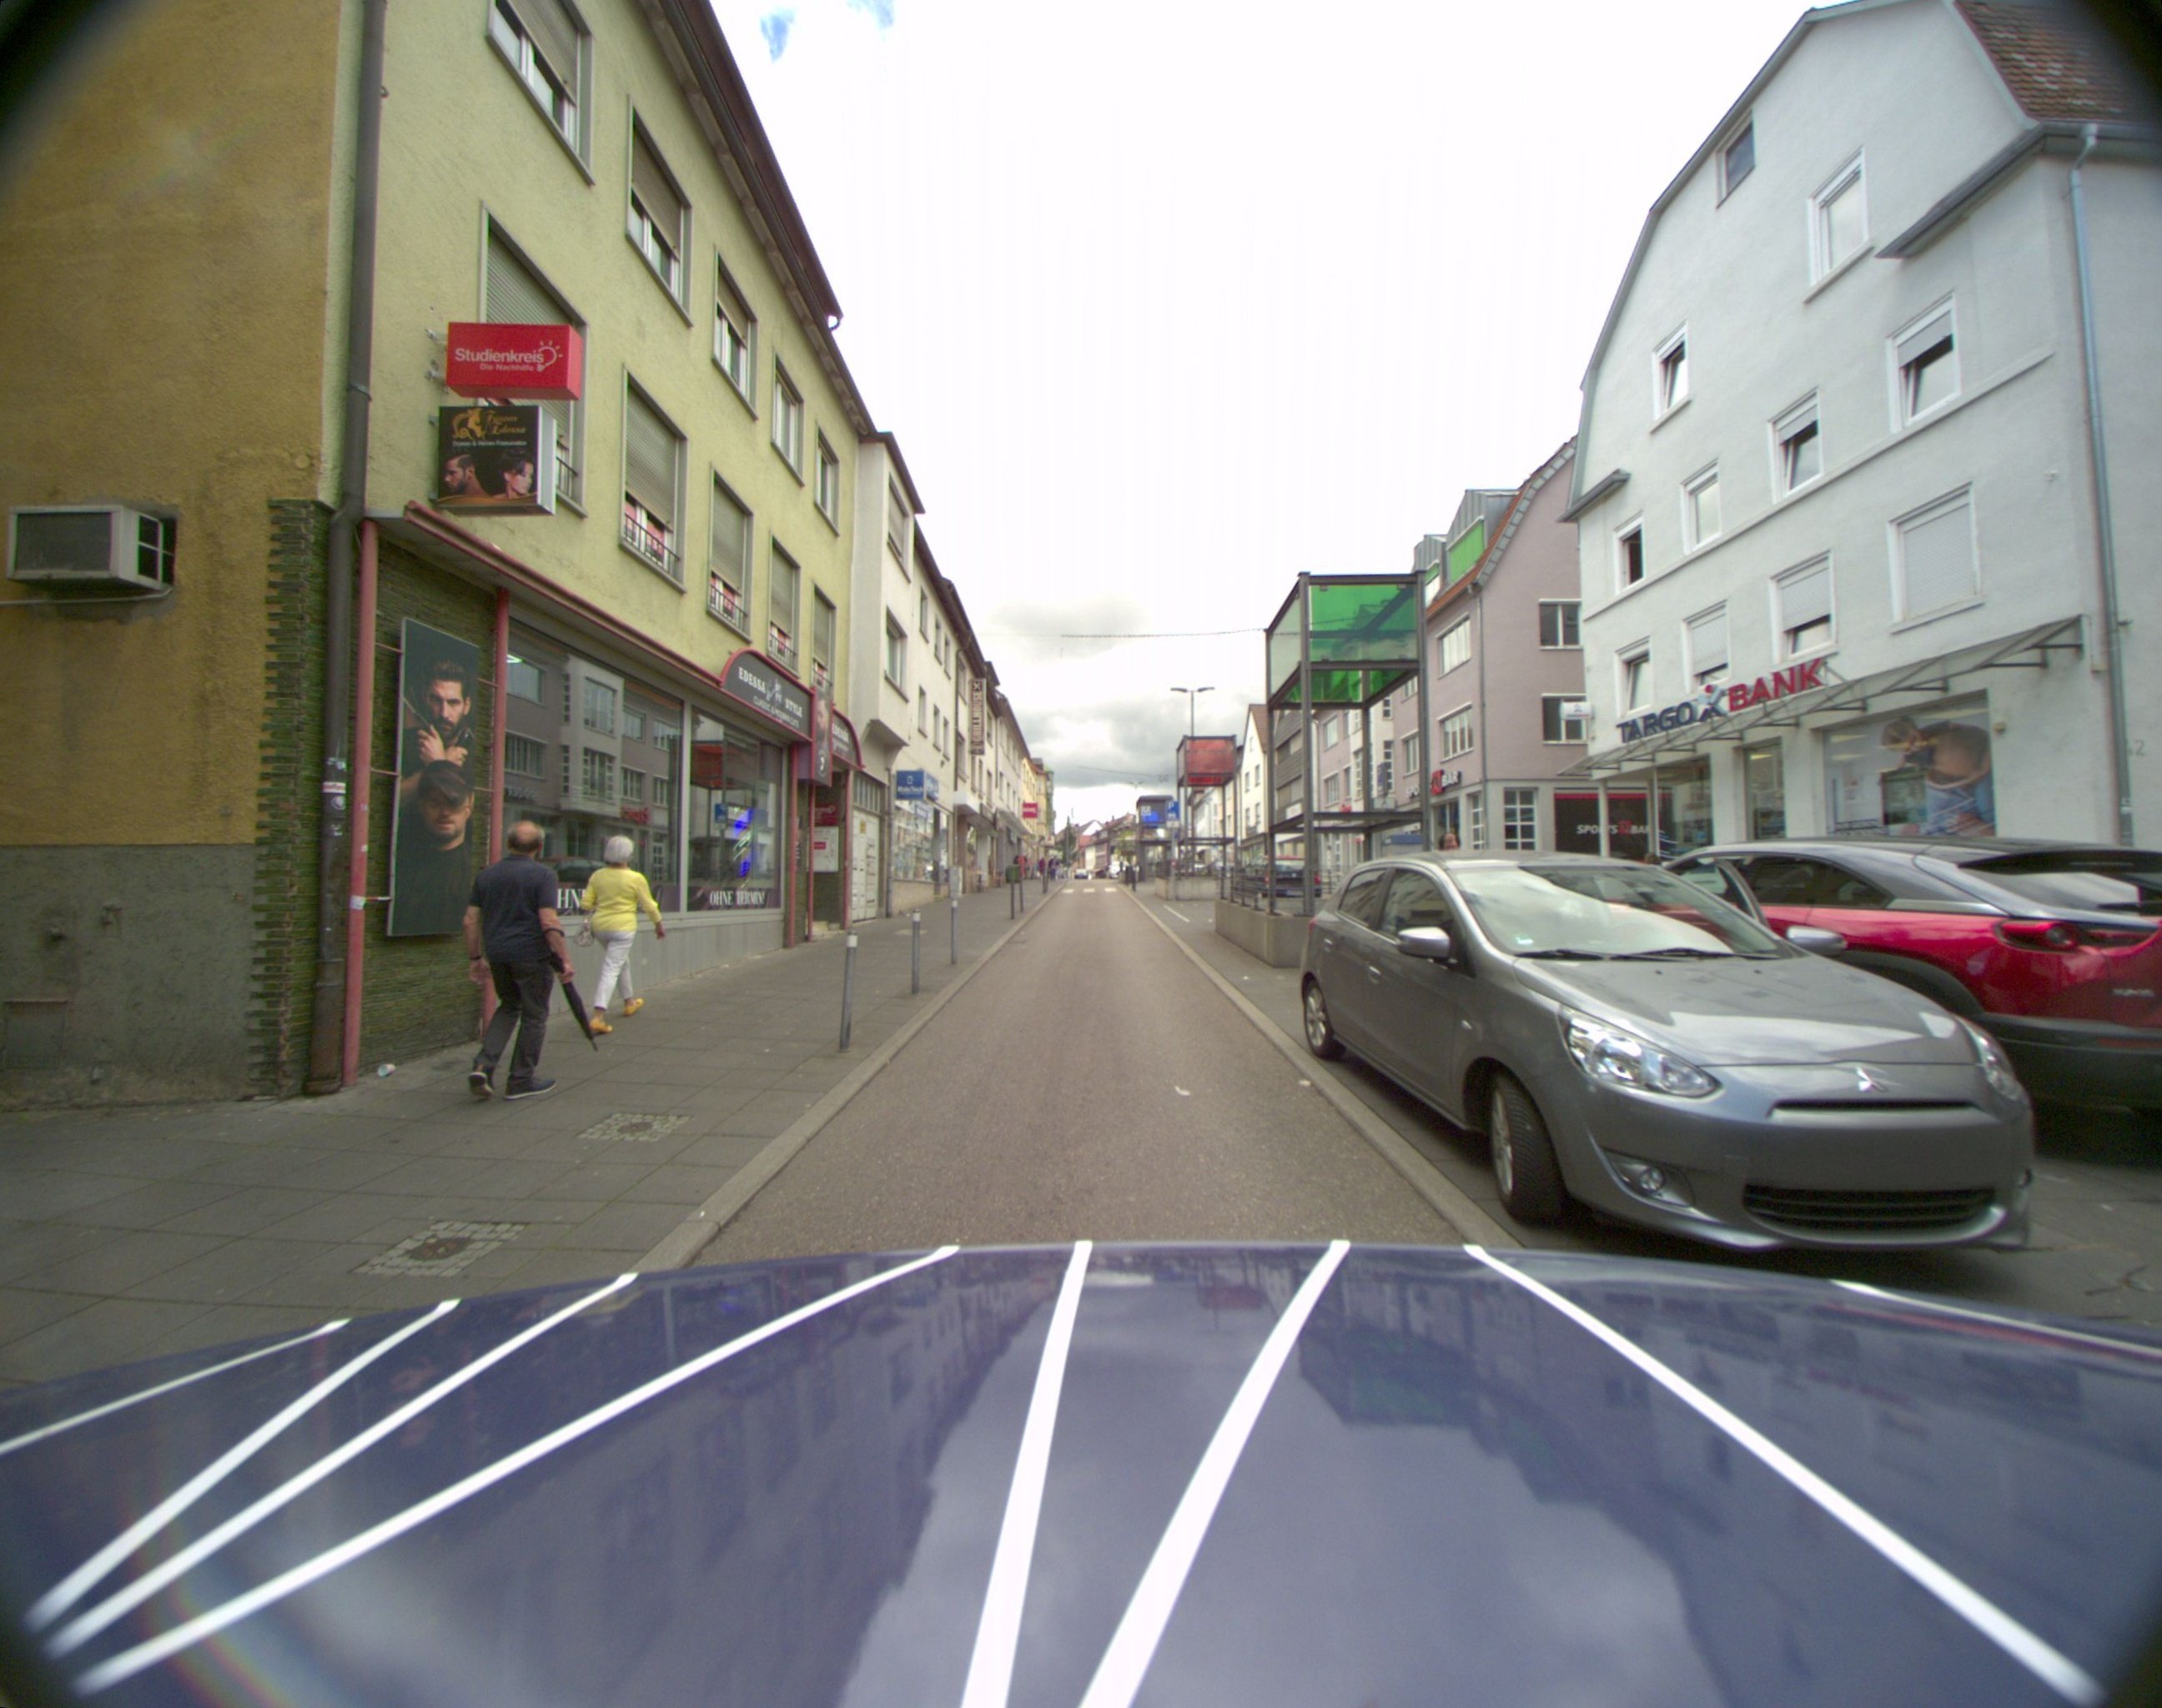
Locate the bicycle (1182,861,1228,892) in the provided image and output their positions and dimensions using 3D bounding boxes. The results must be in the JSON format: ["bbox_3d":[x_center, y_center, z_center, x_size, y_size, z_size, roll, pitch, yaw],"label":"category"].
[{"bbox_3d":[4.999,0.889,30.632,1.782,1.216,0.459,0,1,0],"label":"bicycle"}]

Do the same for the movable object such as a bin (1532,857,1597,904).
[{"bbox_3d":[14.605,0.799,22.993,1.286,1.368,1.067,-1,0,1],"label":"movable object such as a bin"}]

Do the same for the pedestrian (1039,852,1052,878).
[{"bbox_3d":[-2.330,0.691,49.187,0.740,1.660,0.627,1,1,-8],"label":"pedestrian"}]

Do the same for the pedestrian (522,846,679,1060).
[{"bbox_3d":[-3.896,0.757,6.223,0.713,1.622,0.835,2,1,1],"label":"pedestrian"}]

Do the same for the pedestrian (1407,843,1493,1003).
[{"bbox_3d":[4.059,0.729,8.414,0.535,1.662,0.901,-1,0,4],"label":"pedestrian"}]

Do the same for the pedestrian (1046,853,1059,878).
[{"bbox_3d":[-2.024,0.801,53.892,0.759,1.715,0.756,3,0,-5],"label":"pedestrian"}]

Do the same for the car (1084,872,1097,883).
[{"bbox_3d":[1.510,3.719,121.583,1.741,1.608,3.999,-2,0,-2],"label":"car"}]

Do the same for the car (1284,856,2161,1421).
[{"bbox_3d":[2.375,0.817,3.989,1.624,1.523,3.670,-2,0,1],"label":"car"}]

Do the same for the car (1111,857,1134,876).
[{"bbox_3d":[3.417,1.044,63.676,1.754,1.452,3.601,-2,0,1],"label":"car"}]

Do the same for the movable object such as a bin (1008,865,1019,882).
[{"bbox_3d":[-3.914,1.112,43.877,0.568,0.951,0.498,0,0,1],"label":"movable object such as a bin"}]

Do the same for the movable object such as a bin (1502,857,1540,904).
[{"bbox_3d":[13.180,0.792,22.778,0.691,1.368,0.808,-1,0,1],"label":"movable object such as a bin"}]

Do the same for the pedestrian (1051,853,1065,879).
[{"bbox_3d":[-1.488,0.752,49.224,0.740,1.660,0.786,1,1,-8],"label":"pedestrian"}]

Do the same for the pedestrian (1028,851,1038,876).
[{"bbox_3d":[-3.377,0.678,53.225,0.627,1.716,0.607,1,1,-5],"label":"pedestrian"}]

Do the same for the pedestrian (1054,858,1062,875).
[{"bbox_3d":[-2.317,1.266,75.403,0.657,1.620,0.743,-2,1,-9],"label":"pedestrian"}]

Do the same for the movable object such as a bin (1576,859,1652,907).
[{"bbox_3d":[15.913,0.839,22.720,1.286,1.368,1.407,-1,0,1],"label":"movable object such as a bin"}]

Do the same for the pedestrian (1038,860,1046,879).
[{"bbox_3d":[-3.428,1.332,66.612,0.627,1.620,0.607,-2,1,-5],"label":"pedestrian"}]

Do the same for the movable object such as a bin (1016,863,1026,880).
[{"bbox_3d":[-3.716,1.084,47.239,0.560,1.050,0.559,0,0,1],"label":"movable object such as a bin"}]

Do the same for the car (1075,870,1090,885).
[{"bbox_3d":[0.204,2.965,96.426,1.741,1.608,3.843,-2,0,0],"label":"car"}]

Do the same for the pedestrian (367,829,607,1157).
[{"bbox_3d":[-3.482,0.760,4.532,0.713,1.743,0.785,4,1,1],"label":"pedestrian"}]

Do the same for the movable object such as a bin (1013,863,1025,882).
[{"bbox_3d":[-3.660,1.097,45.211,0.652,1.074,0.673,0,0,1],"label":"movable object such as a bin"}]

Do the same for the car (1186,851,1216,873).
[{"bbox_3d":[9.283,0.568,59.198,1.683,1.562,4.122,-2,0,1],"label":"car"}]

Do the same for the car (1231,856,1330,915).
[{"bbox_3d":[5.409,0.806,21.088,1.573,1.466,3.854,0,0,-3],"label":"car"}]

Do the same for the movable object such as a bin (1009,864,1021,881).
[{"bbox_3d":[-3.856,1.080,44.489,0.670,1.024,0.560,0,0,1],"label":"movable object such as a bin"}]

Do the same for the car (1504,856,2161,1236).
[{"bbox_3d":[4.971,0.798,5.229,1.743,1.534,4.192,0,0,-1],"label":"car"}]
